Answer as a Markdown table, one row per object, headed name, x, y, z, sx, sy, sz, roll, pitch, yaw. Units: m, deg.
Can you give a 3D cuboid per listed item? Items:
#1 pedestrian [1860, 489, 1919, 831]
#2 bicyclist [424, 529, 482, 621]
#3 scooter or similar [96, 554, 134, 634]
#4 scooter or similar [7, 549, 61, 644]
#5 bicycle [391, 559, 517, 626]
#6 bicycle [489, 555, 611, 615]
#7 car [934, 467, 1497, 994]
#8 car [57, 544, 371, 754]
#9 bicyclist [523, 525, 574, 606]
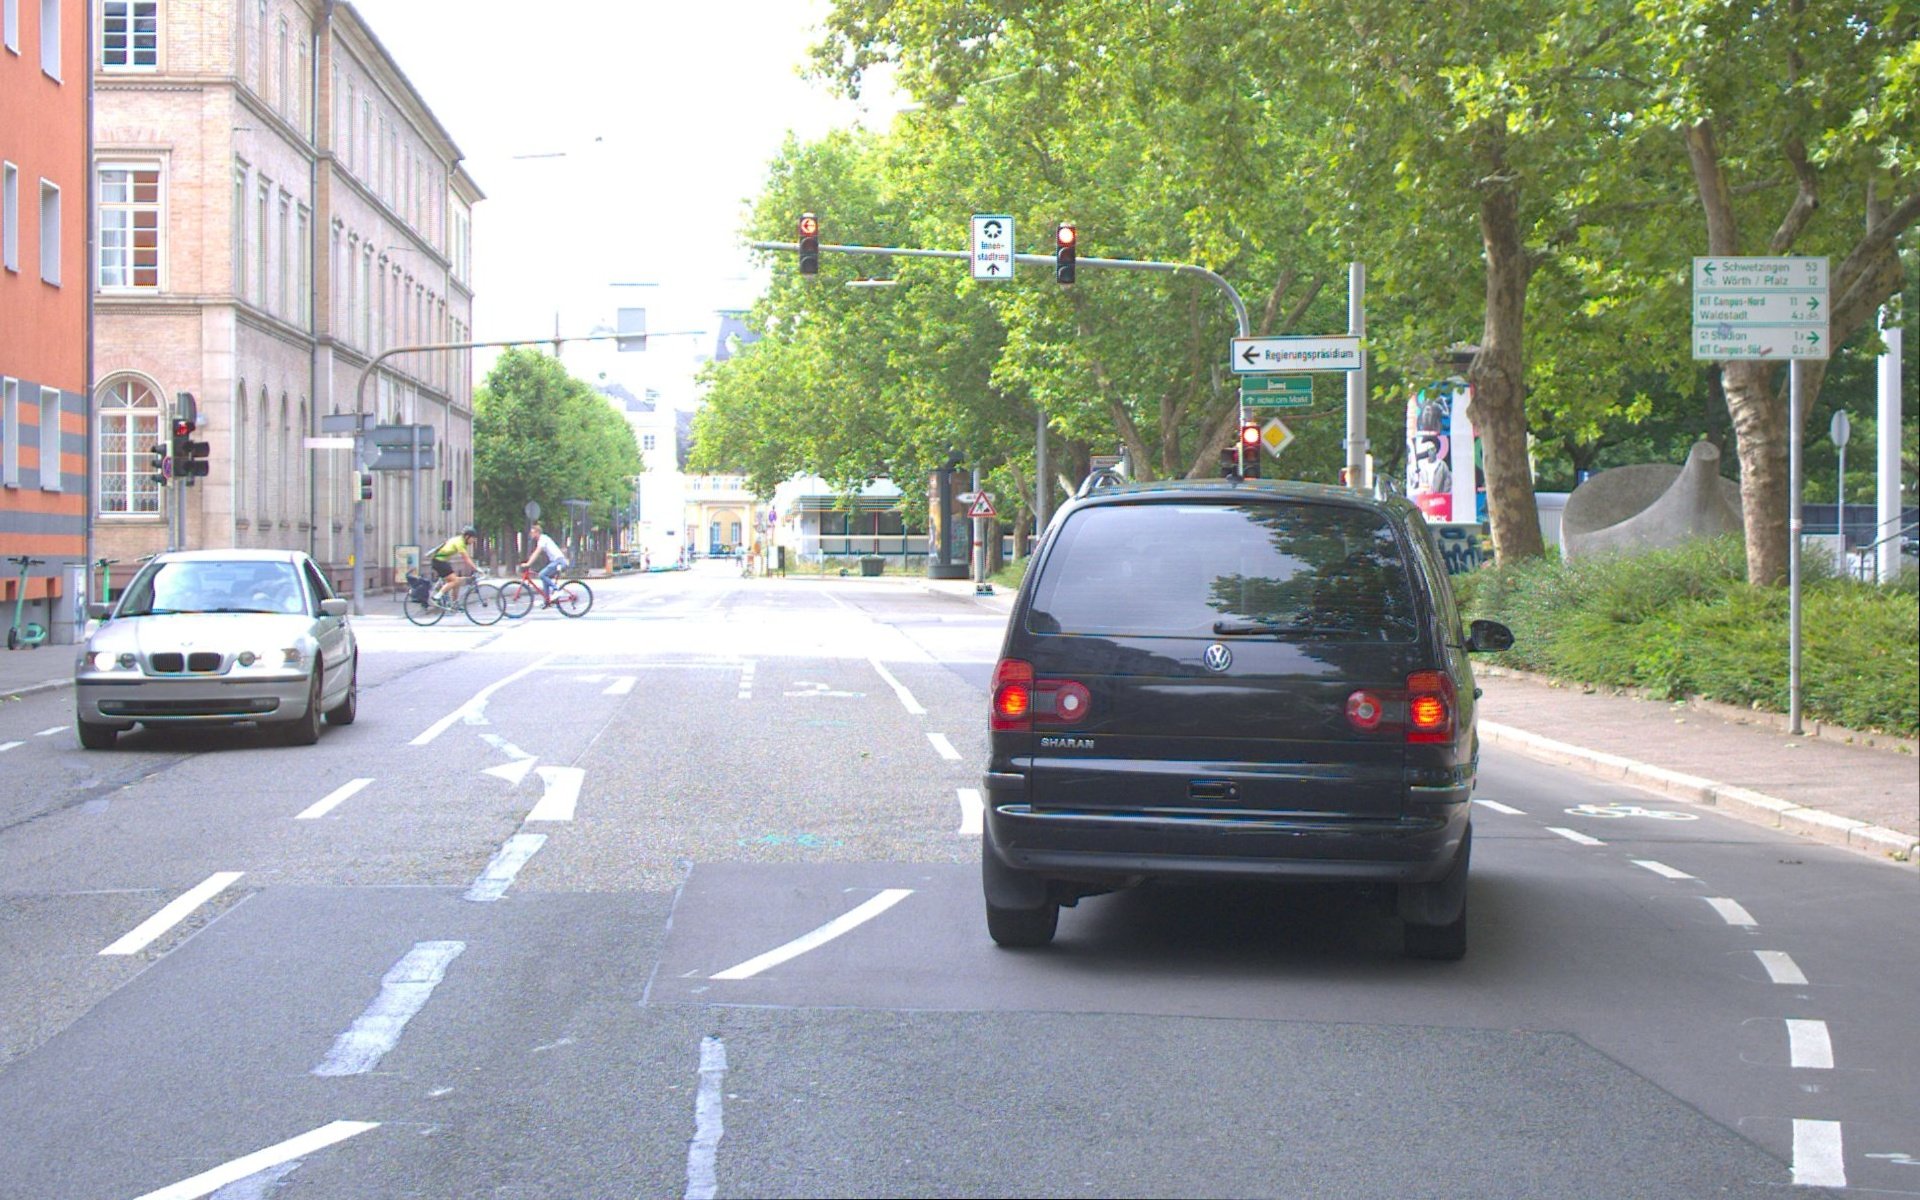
| name | x | y | z | sx | sy | sz | roll | pitch | yaw |
| --- | --- | --- | --- | --- | --- | --- | --- | --- | --- |
| pedestrian | 5.301 | 0.298 | 18.174 | 0.710 | 1.777 | 1.034 | -2 | 1 | -4 |
| bicyclist | -8.324 | -0.415 | 56.497 | 0.914 | 1.509 | 0.626 | 0 | 1 | -6 |
| scooter or similar | -12.169 | -0.079 | 49.523 | 0.378 | 1.143 | 1.142 | 0 | -1 | -7 |
| scooter or similar | -11.663 | -0.038 | 43.322 | 0.378 | 1.179 | 1.390 | 0 | 0 | -3 |
| bicycle | -8.306 | -0.121 | 56.505 | 2.018 | 1.090 | 0.627 | 0 | 1 | -5 |
| bicycle | -7.558 | -0.285 | 63.346 | 2.233 | 1.090 | 0.627 | 0 | 1 | -8 |
| car | 1.174 | 0.383 | 13.797 | 1.874 | 1.739 | 4.572 | 1 | 1 | 8 |
| car | -5.611 | 0.312 | 26.311 | 1.757 | 1.422 | 4.100 | -1 | 1 | -4 |
| bicyclist | -7.581 | -0.635 | 63.336 | 0.914 | 1.488 | 0.626 | 0 | 1 | -7 |
